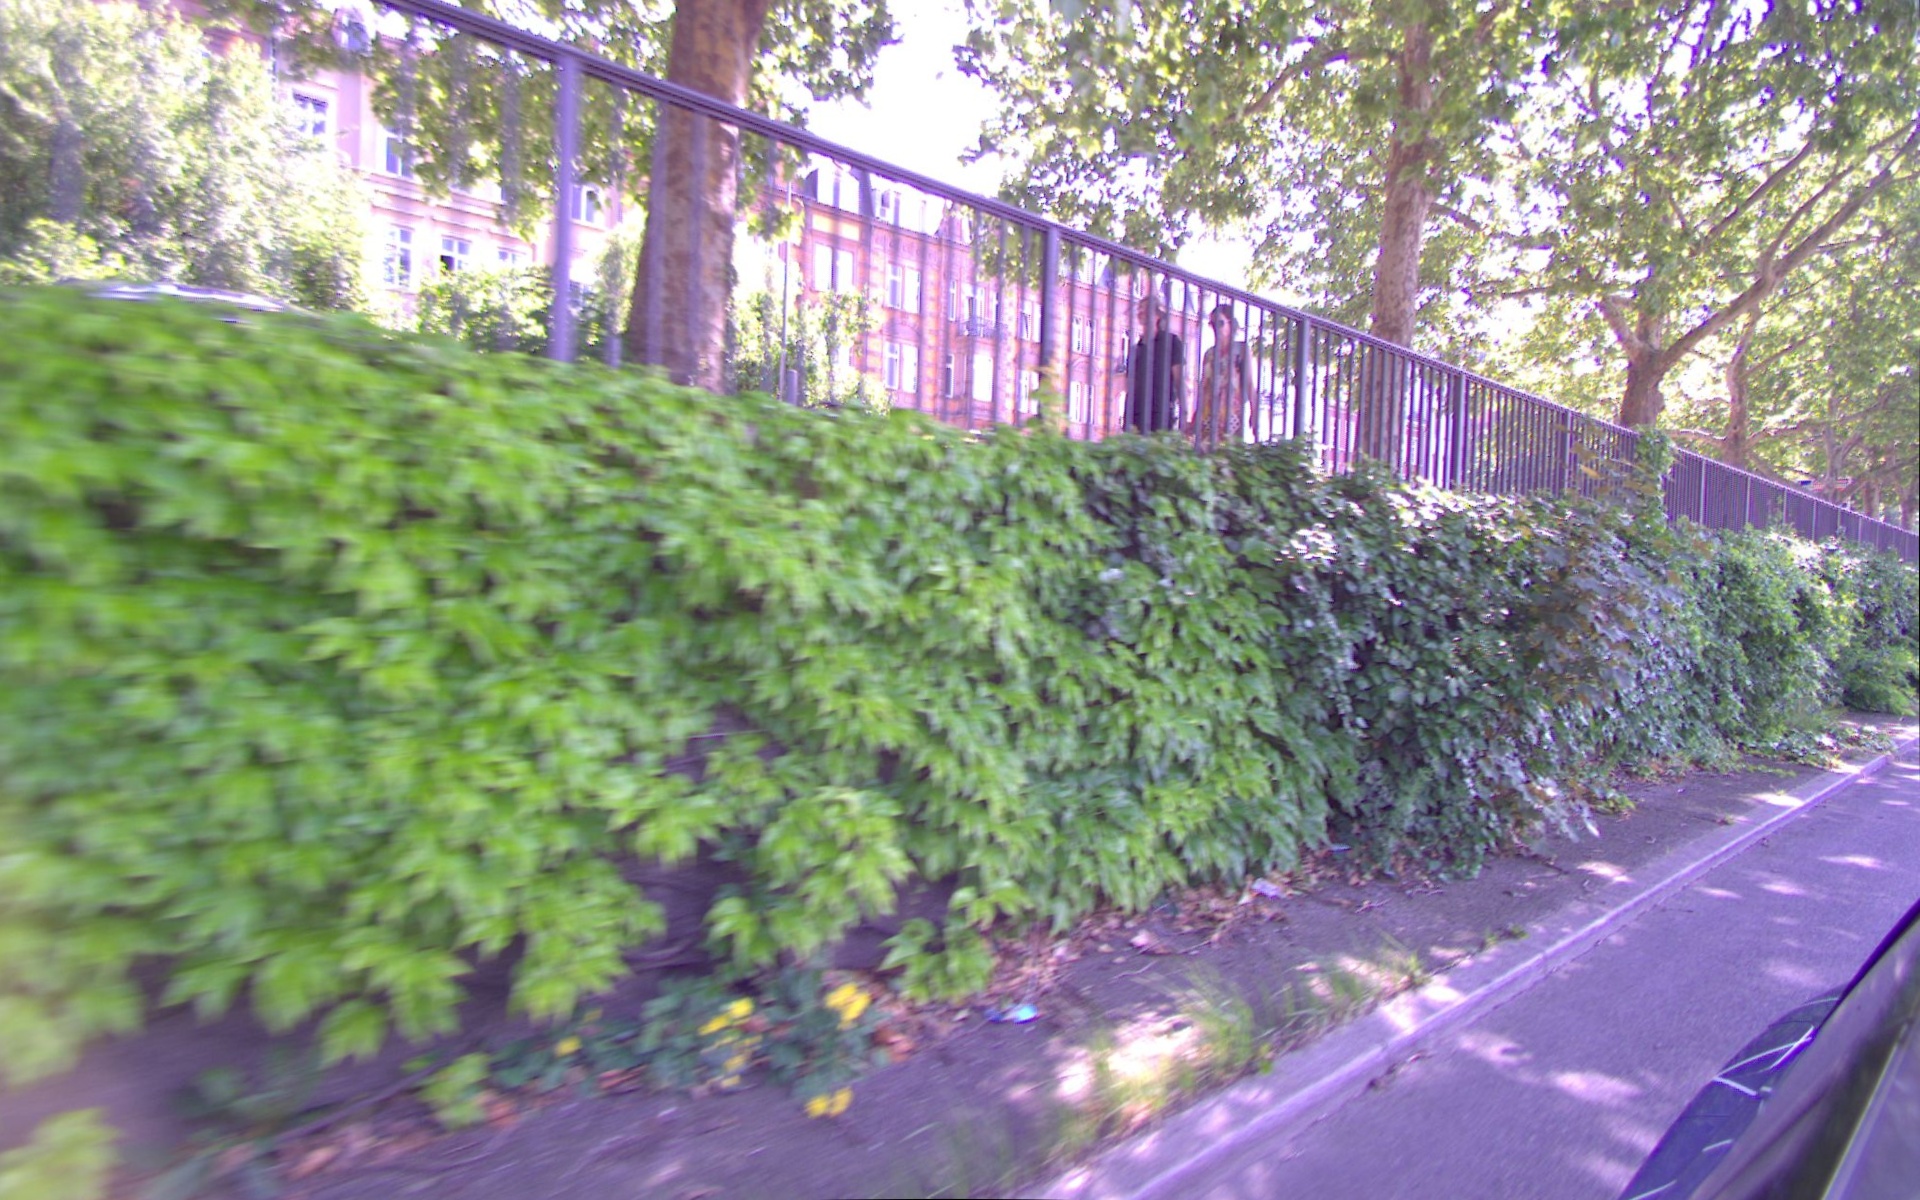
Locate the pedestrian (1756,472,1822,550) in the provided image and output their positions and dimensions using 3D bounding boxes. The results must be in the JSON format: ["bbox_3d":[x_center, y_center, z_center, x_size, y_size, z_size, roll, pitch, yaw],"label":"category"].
[{"bbox_3d":[14.133,-1.506,17.260,0.729,1.259,0.712,1,1,-41],"label":"pedestrian"}]

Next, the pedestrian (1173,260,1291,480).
[{"bbox_3d":[1.984,-1.631,7.377,0.584,1.437,0.580,3,1,42],"label":"pedestrian"}]

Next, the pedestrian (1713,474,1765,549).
[{"bbox_3d":[13.816,-1.553,17.951,0.679,1.259,0.577,1,1,-41],"label":"pedestrian"}]

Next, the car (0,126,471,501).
[{"bbox_3d":[-4.147,-1.238,5.660,1.622,1.128,3.738,1,2,-41],"label":"car"}]

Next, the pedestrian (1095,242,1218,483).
[{"bbox_3d":[1.510,-1.772,7.775,0.646,1.660,0.617,3,1,42],"label":"pedestrian"}]
